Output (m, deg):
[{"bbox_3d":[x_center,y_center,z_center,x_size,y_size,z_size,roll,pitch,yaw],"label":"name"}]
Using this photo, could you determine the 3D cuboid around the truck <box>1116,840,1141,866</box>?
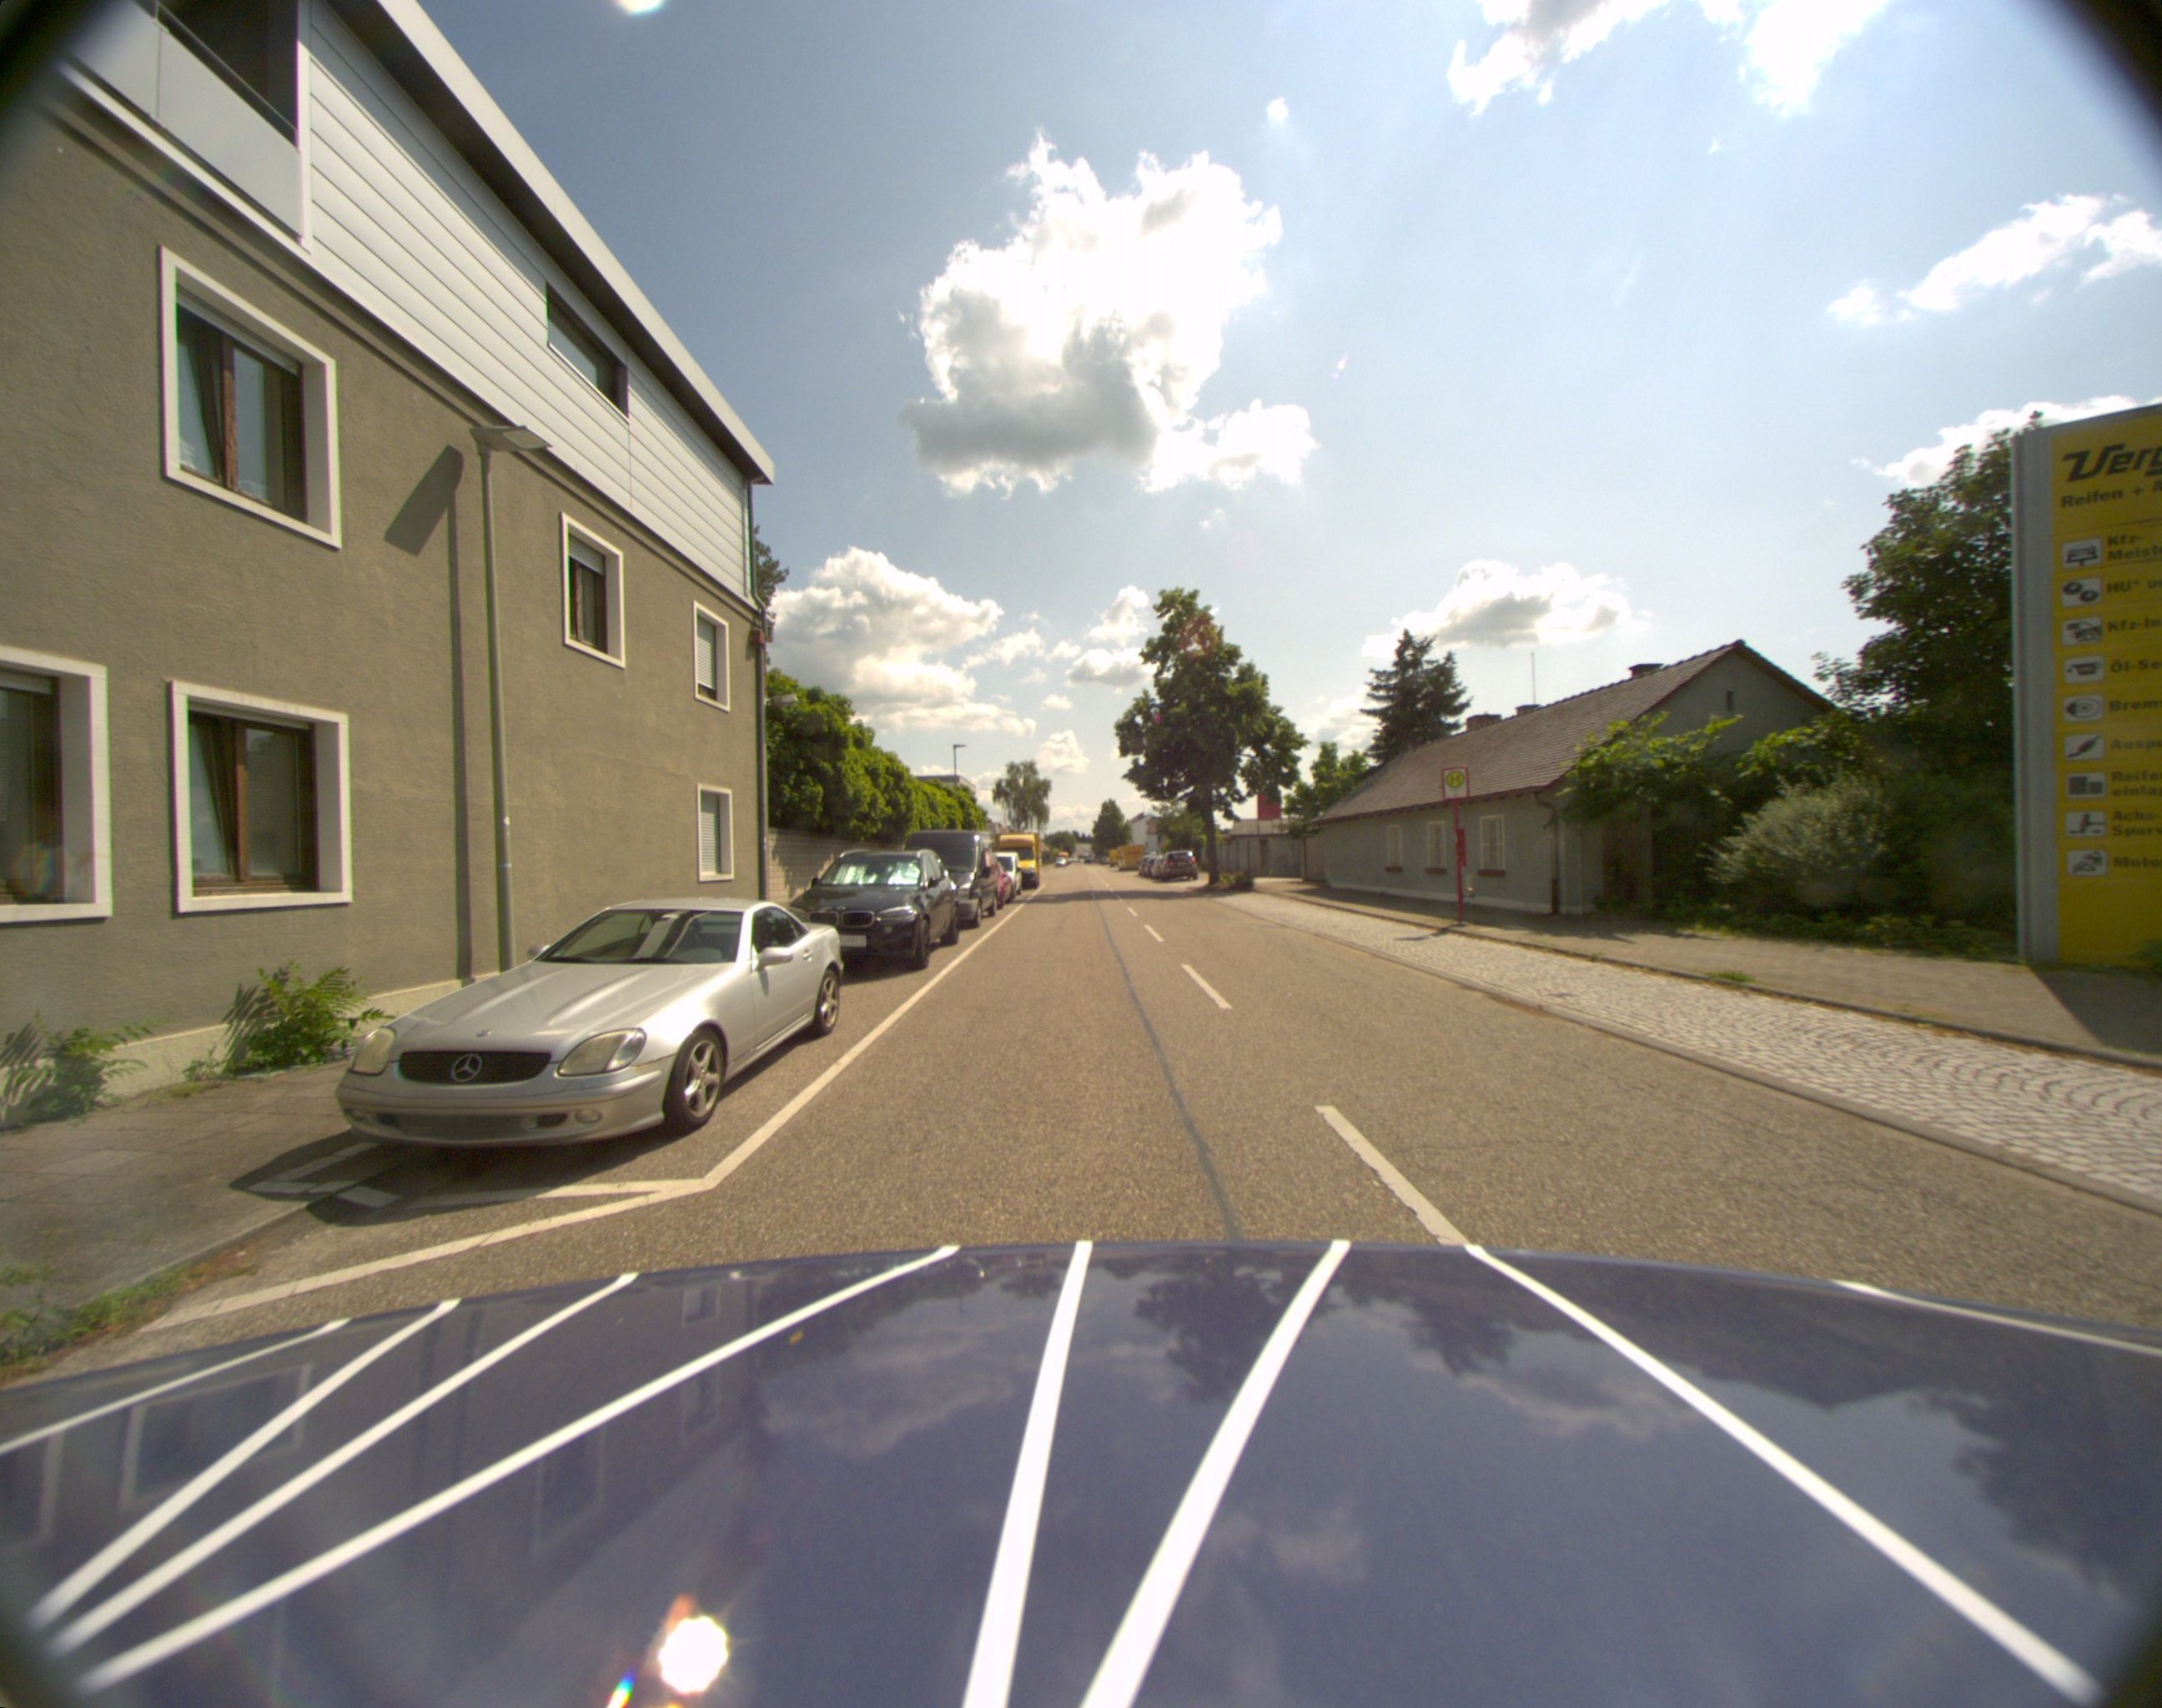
[{"bbox_3d":[5.532,-0.130,89.133,2.275,2.837,7.174,-3,0,-1],"label":"truck"}]

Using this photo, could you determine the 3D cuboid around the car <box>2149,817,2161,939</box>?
[{"bbox_3d":[16.383,0.285,9.227,3.773,1.662,1.793,-2,0,10],"label":"car"}]

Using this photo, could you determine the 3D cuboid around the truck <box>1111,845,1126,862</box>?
[{"bbox_3d":[5.695,-0.086,115.857,1.998,2.399,6.064,-3,0,1],"label":"truck"}]

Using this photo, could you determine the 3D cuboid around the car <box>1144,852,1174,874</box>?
[{"bbox_3d":[5.763,0.627,56.683,1.632,1.440,4.026,-6,0,-1],"label":"car"}]

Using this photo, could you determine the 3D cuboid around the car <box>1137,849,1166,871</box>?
[{"bbox_3d":[5.729,0.470,62.034,1.729,1.595,4.413,-5,0,-2],"label":"car"}]

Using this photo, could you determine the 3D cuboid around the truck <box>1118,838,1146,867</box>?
[{"bbox_3d":[5.476,-0.202,82.077,2.322,2.846,7.103,-4,0,0],"label":"truck"}]

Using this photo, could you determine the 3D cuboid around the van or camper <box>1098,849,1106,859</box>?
[{"bbox_3d":[5.346,-0.017,194.288,1.998,2.303,5.934,-2,0,2],"label":"van or camper"}]

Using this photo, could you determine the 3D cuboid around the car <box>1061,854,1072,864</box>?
[{"bbox_3d":[-2.426,0.862,131.487,1.614,1.571,4.000,-3,0,2],"label":"car"}]

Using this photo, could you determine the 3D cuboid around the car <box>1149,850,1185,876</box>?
[{"bbox_3d":[5.739,0.580,51.089,1.738,1.509,4.742,-4,0,0],"label":"car"}]

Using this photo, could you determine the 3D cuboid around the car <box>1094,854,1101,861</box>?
[{"bbox_3d":[4.706,1.052,221.290,1.814,1.795,4.490,-5,0,-1],"label":"car"}]

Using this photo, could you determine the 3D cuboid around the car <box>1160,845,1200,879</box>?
[{"bbox_3d":[5.881,0.422,45.531,1.923,1.812,4.785,-3,1,3],"label":"car"}]

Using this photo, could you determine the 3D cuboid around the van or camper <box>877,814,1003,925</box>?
[{"bbox_3d":[-3.307,0.320,19.017,1.998,2.278,5.447,-3,0,0],"label":"van or camper"}]

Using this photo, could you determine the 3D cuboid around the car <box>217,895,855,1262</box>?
[{"bbox_3d":[-3.055,1.128,5.415,1.633,1.345,3.923,-4,0,0],"label":"car"}]

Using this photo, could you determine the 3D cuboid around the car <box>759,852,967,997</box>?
[{"bbox_3d":[-3.192,0.910,12.330,1.965,1.770,4.953,-3,0,-1],"label":"car"}]

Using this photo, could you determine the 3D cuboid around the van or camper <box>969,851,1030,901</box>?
[{"bbox_3d":[-3.279,0.826,31.594,1.763,1.795,5.586,-2,0,1],"label":"van or camper"}]

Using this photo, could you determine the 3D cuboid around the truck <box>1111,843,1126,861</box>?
[{"bbox_3d":[6.026,-0.325,123.057,2.226,2.840,7.069,-3,0,2],"label":"truck"}]

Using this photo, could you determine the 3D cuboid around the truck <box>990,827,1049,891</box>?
[{"bbox_3d":[-3.046,0.215,39.358,2.481,2.923,7.187,-3,0,-1],"label":"truck"}]

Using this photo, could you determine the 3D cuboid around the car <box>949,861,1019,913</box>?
[{"bbox_3d":[-3.143,1.035,25.422,1.686,1.434,4.766,-2,0,0],"label":"car"}]
